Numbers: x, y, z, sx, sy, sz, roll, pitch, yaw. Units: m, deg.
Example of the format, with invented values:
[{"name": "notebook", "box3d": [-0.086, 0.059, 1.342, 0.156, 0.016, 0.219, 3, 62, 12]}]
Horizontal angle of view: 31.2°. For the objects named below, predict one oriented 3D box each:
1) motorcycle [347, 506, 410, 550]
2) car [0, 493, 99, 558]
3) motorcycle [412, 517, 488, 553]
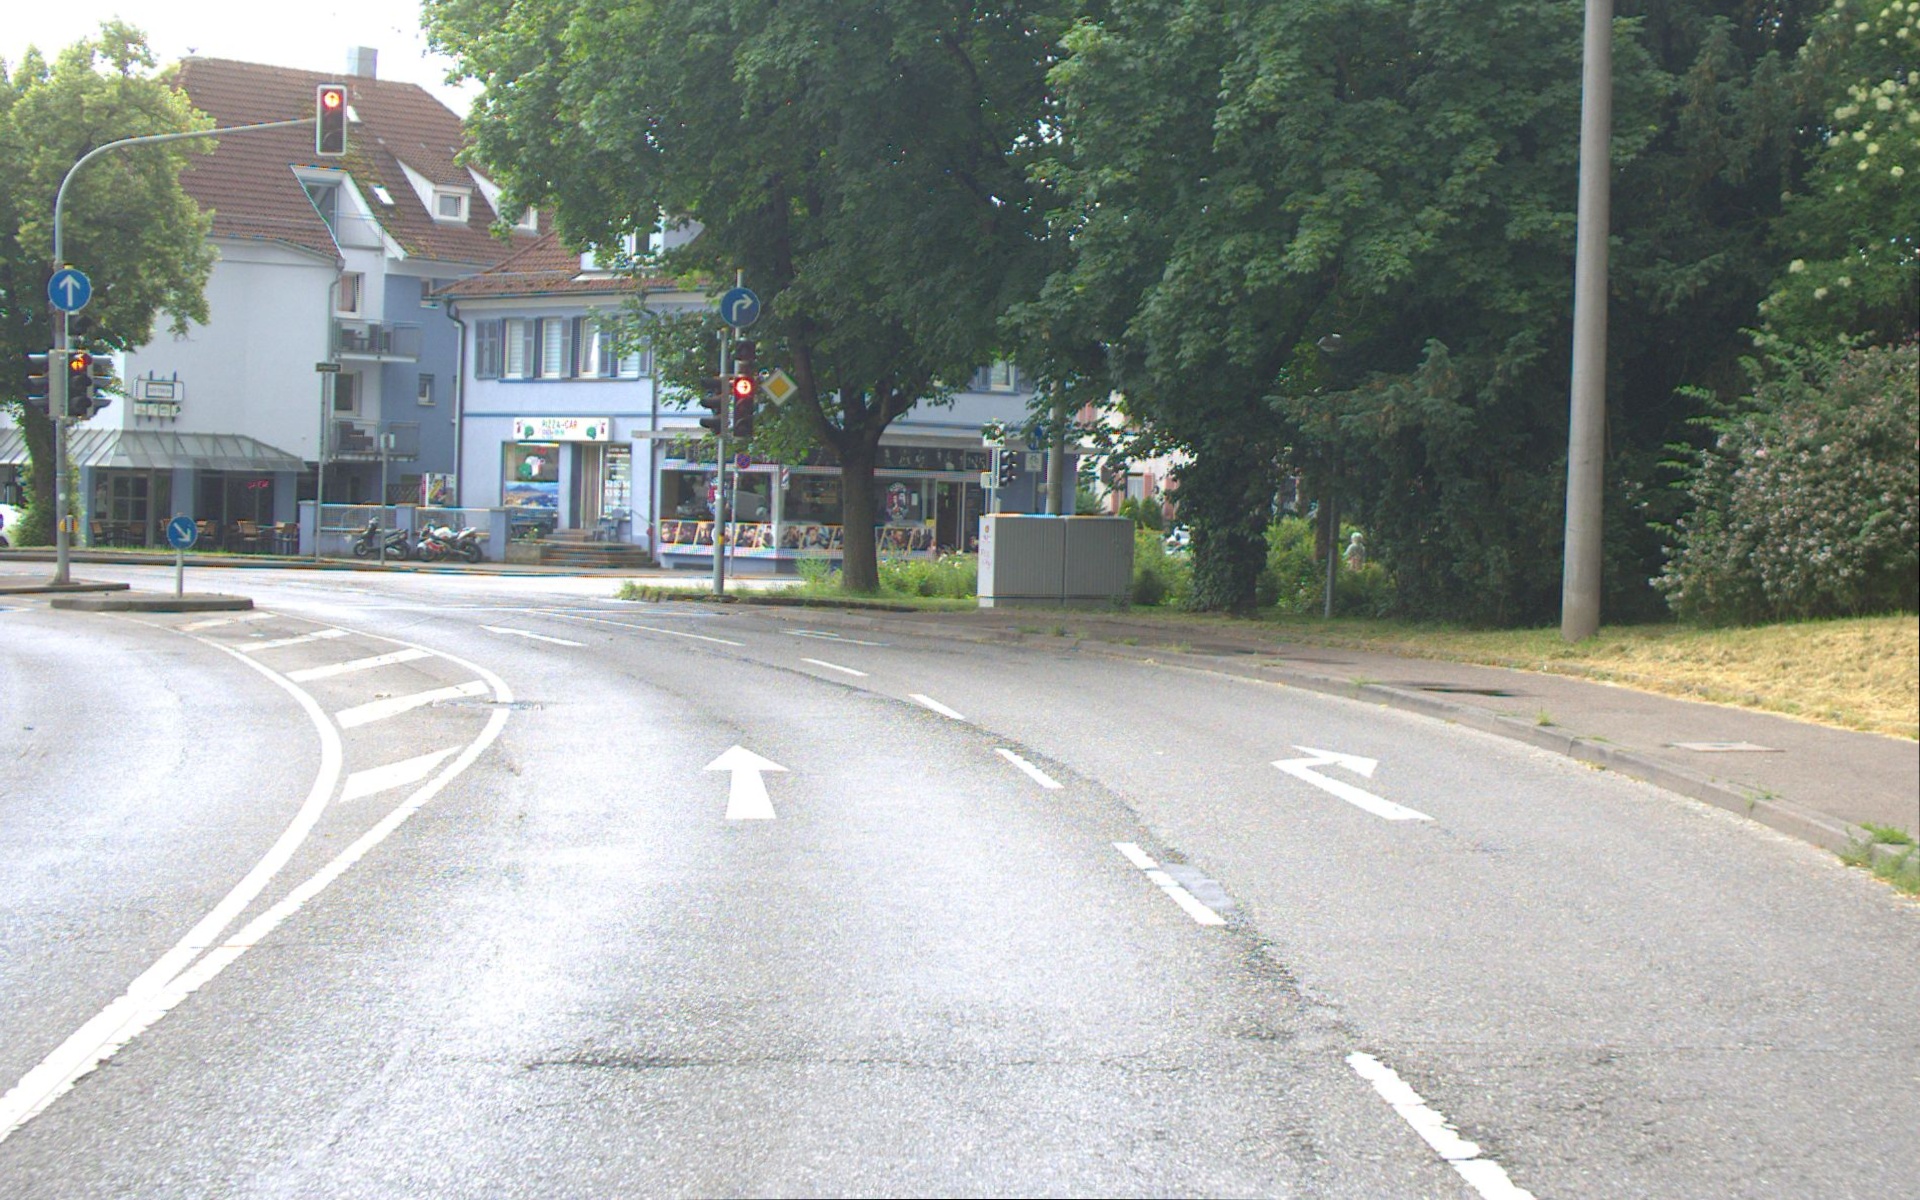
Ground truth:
[{"name": "motorcycle", "box3d": [-15.184, -1.889, 89.786, 1.496, 1.103, 0.560, 0, 7, 12]}, {"name": "car", "box3d": [-23.154, -1.810, 82.167, 4.580, 1.512, 1.999, 1, 2, 13]}, {"name": "motorcycle", "box3d": [-13.139, -1.682, 88.624, 1.837, 0.845, 0.560, 1, 7, 15]}]
